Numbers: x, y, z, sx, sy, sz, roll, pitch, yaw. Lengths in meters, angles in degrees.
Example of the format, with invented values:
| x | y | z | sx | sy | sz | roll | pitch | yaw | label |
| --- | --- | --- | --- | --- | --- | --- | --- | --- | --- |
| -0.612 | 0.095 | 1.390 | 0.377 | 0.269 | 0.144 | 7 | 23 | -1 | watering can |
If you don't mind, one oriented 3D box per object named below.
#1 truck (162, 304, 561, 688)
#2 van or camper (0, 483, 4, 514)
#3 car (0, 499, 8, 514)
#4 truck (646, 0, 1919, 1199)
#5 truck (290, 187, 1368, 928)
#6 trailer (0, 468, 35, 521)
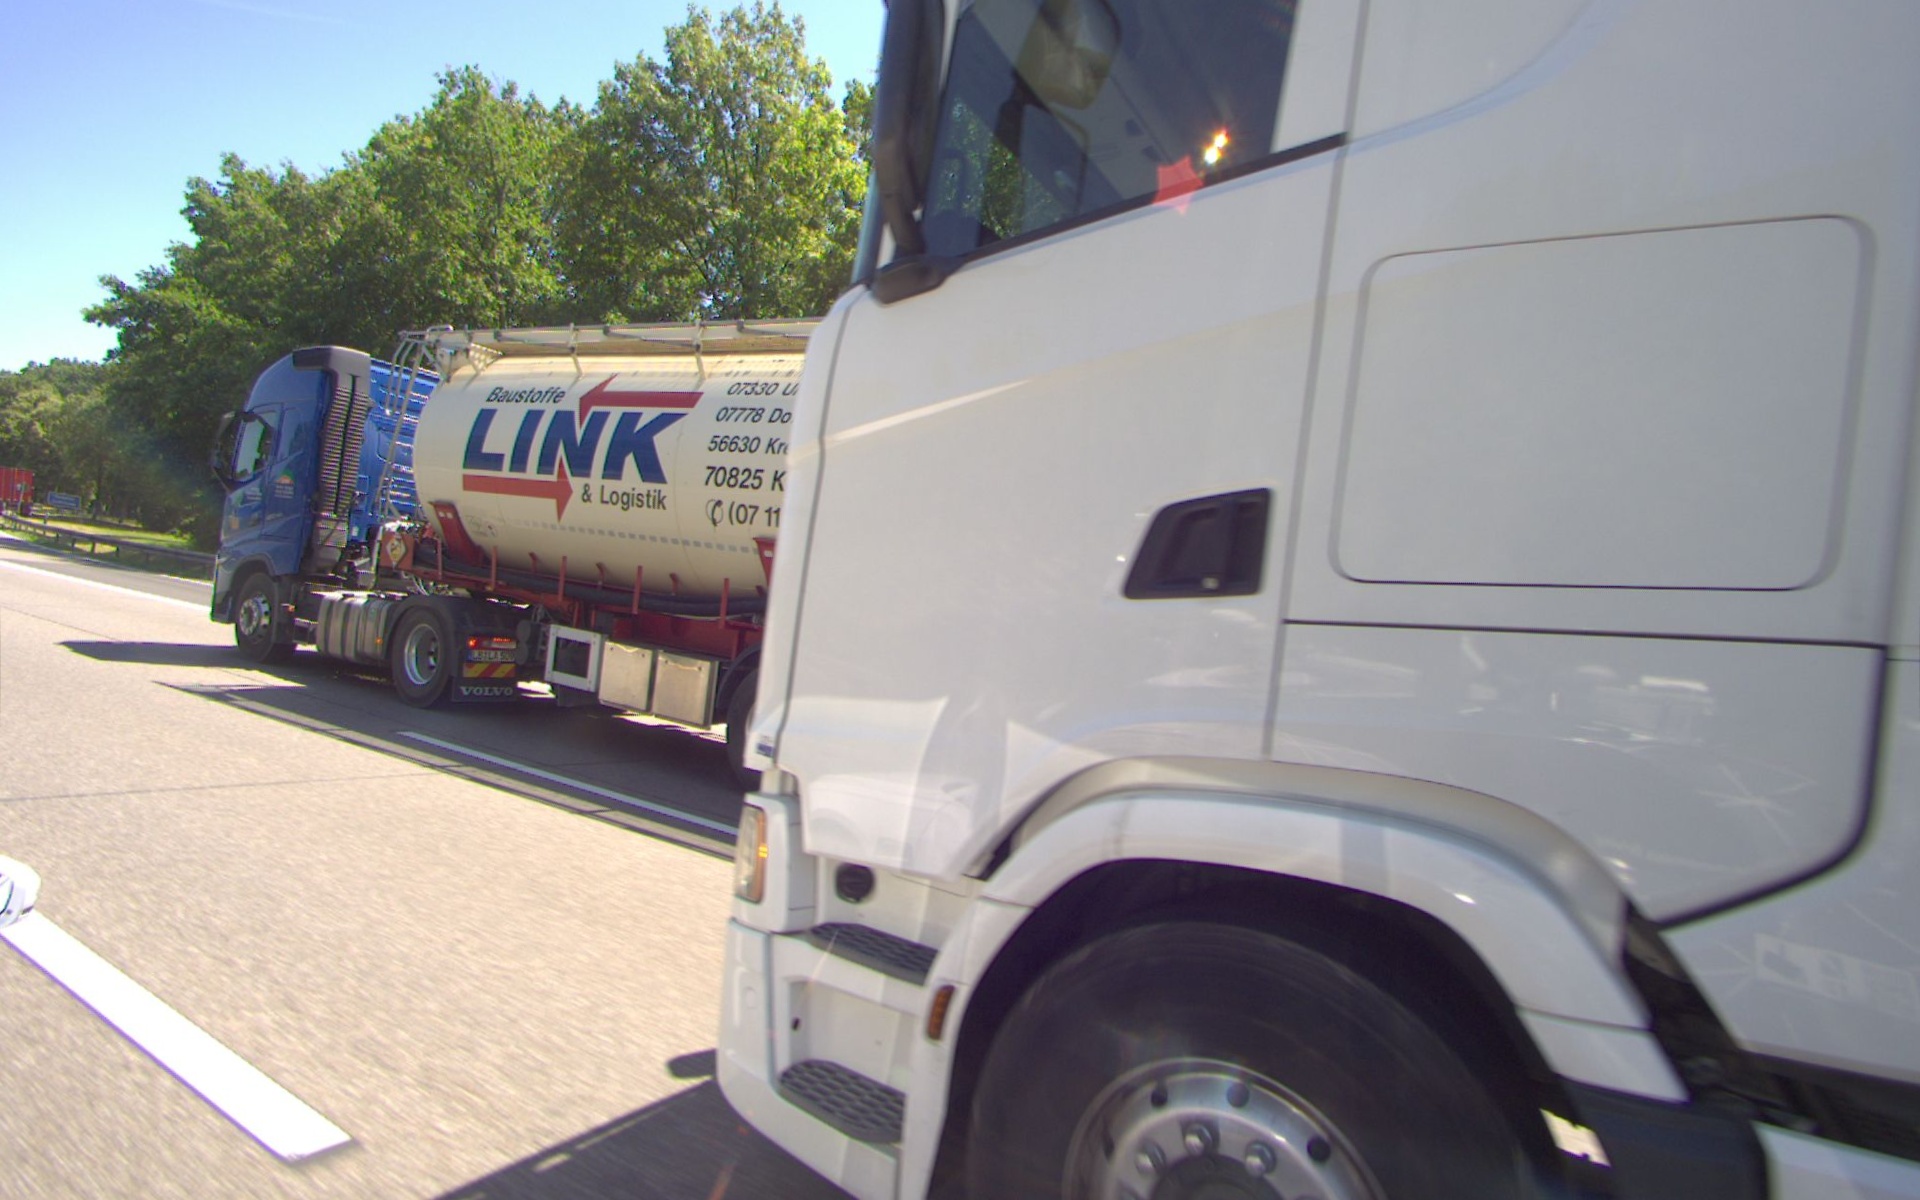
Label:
| x | y | z | sx | sy | sz | roll | pitch | yaw | label |
| --- | --- | --- | --- | --- | --- | --- | --- | --- | --- |
| -7.659 | -1.208 | 12.867 | 4.004 | 4.086 | 2.453 | 6 | -1 | 32 | truck |
| -107.654 | -11.408 | 110.508 | 6.902 | 3.274 | 2.995 | 6 | 0 | 41 | van or camper |
| -98.592 | -9.690 | 102.407 | 4.965 | 1.469 | 1.990 | 6 | -1 | 42 | car |
| 2.304 | -0.377 | 2.289 | 4.483 | 4.208 | 3.234 | 7 | 0 | 31 | truck |
| -2.141 | -0.604 | 9.334 | 10.368 | 4.091 | 2.446 | 6 | -1 | 32 | truck |
| -81.517 | -9.069 | 85.863 | 12.722 | 3.925 | 2.971 | 6 | 0 | 45 | trailer |
